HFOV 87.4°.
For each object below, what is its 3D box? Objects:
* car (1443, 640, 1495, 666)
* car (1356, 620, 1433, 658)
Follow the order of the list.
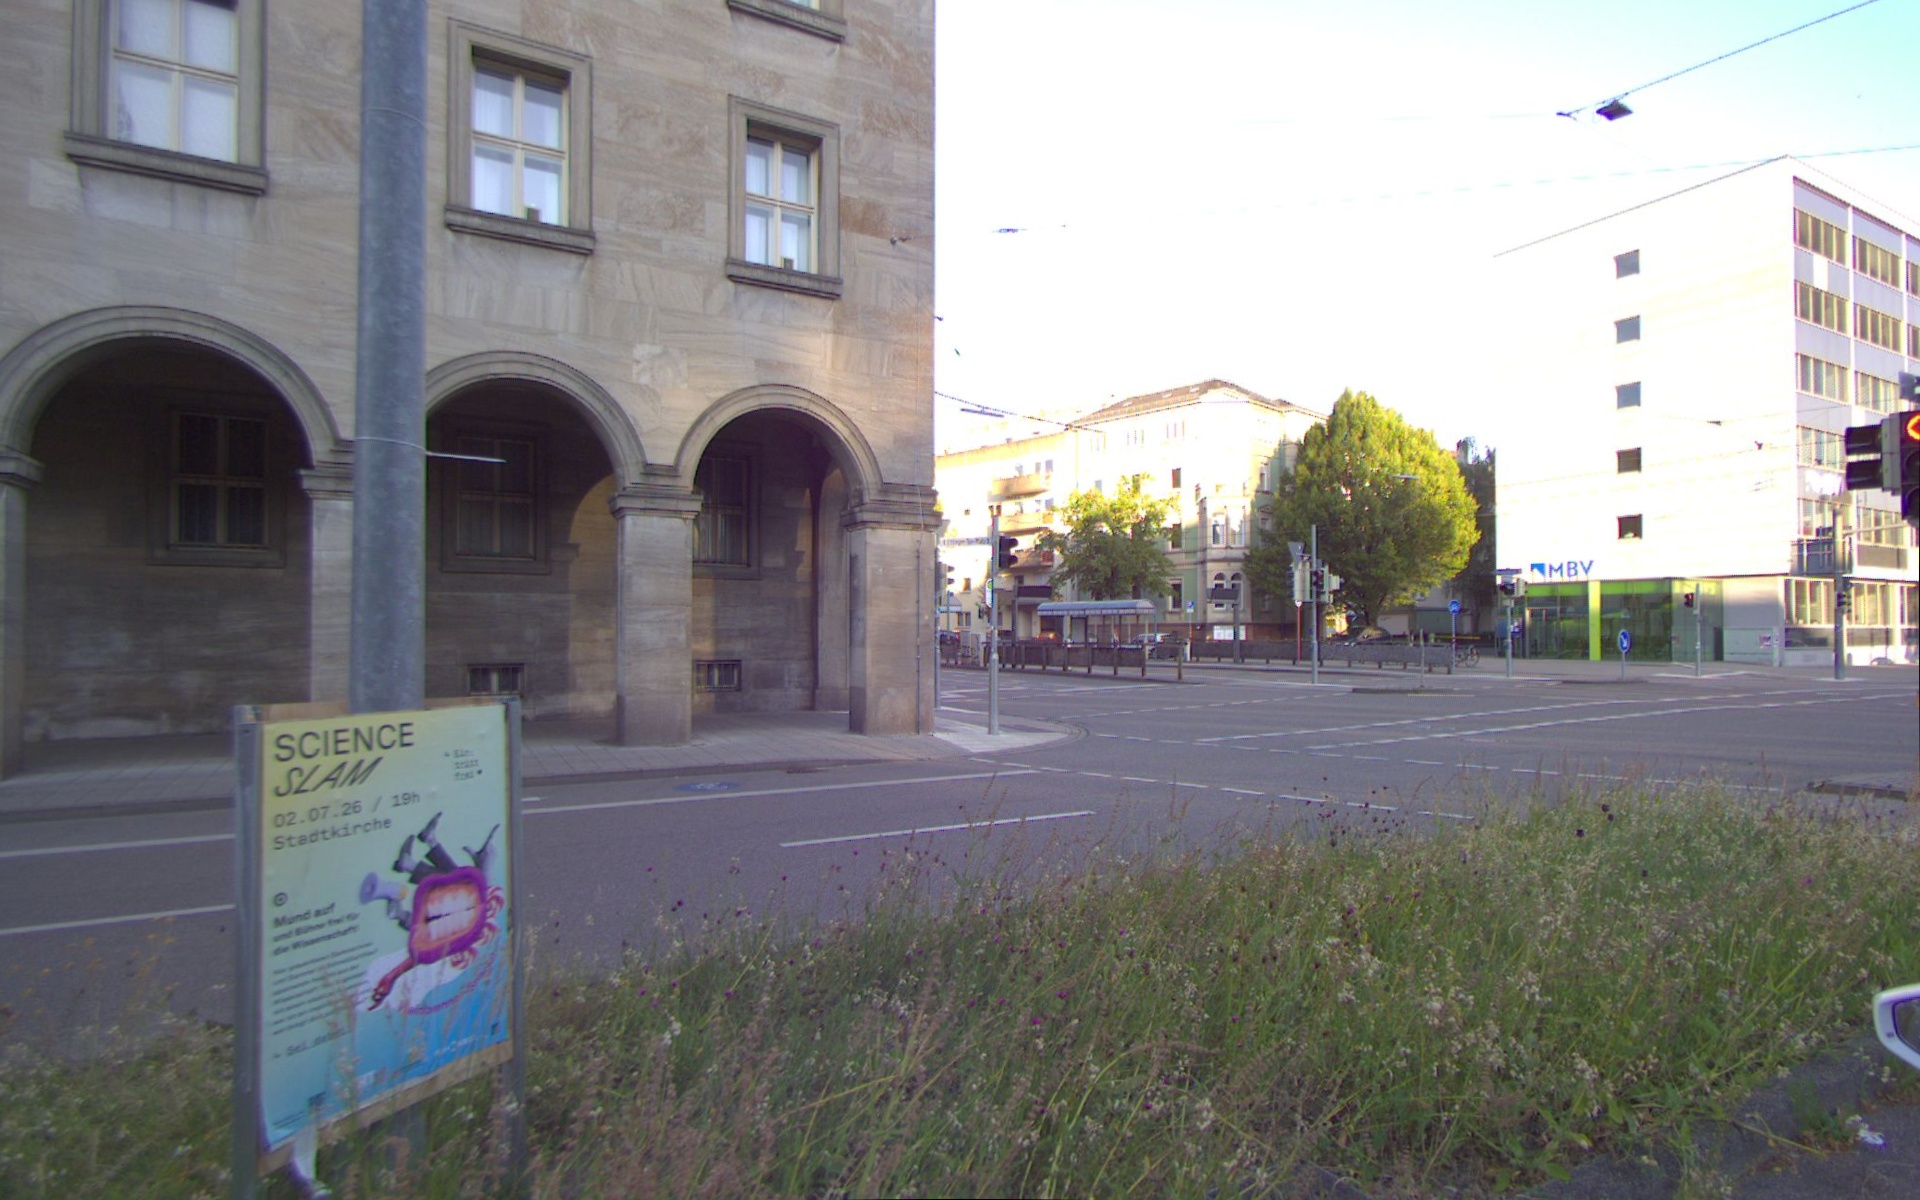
[{"bbox_3d":[22.232,2.290,43.861,2.492,1.088,0.849,1,-2,-31],"label":"car"},{"bbox_3d":[24.200,2.182,55.891,3.954,2.040,1.984,1,-2,-31],"label":"car"}]
